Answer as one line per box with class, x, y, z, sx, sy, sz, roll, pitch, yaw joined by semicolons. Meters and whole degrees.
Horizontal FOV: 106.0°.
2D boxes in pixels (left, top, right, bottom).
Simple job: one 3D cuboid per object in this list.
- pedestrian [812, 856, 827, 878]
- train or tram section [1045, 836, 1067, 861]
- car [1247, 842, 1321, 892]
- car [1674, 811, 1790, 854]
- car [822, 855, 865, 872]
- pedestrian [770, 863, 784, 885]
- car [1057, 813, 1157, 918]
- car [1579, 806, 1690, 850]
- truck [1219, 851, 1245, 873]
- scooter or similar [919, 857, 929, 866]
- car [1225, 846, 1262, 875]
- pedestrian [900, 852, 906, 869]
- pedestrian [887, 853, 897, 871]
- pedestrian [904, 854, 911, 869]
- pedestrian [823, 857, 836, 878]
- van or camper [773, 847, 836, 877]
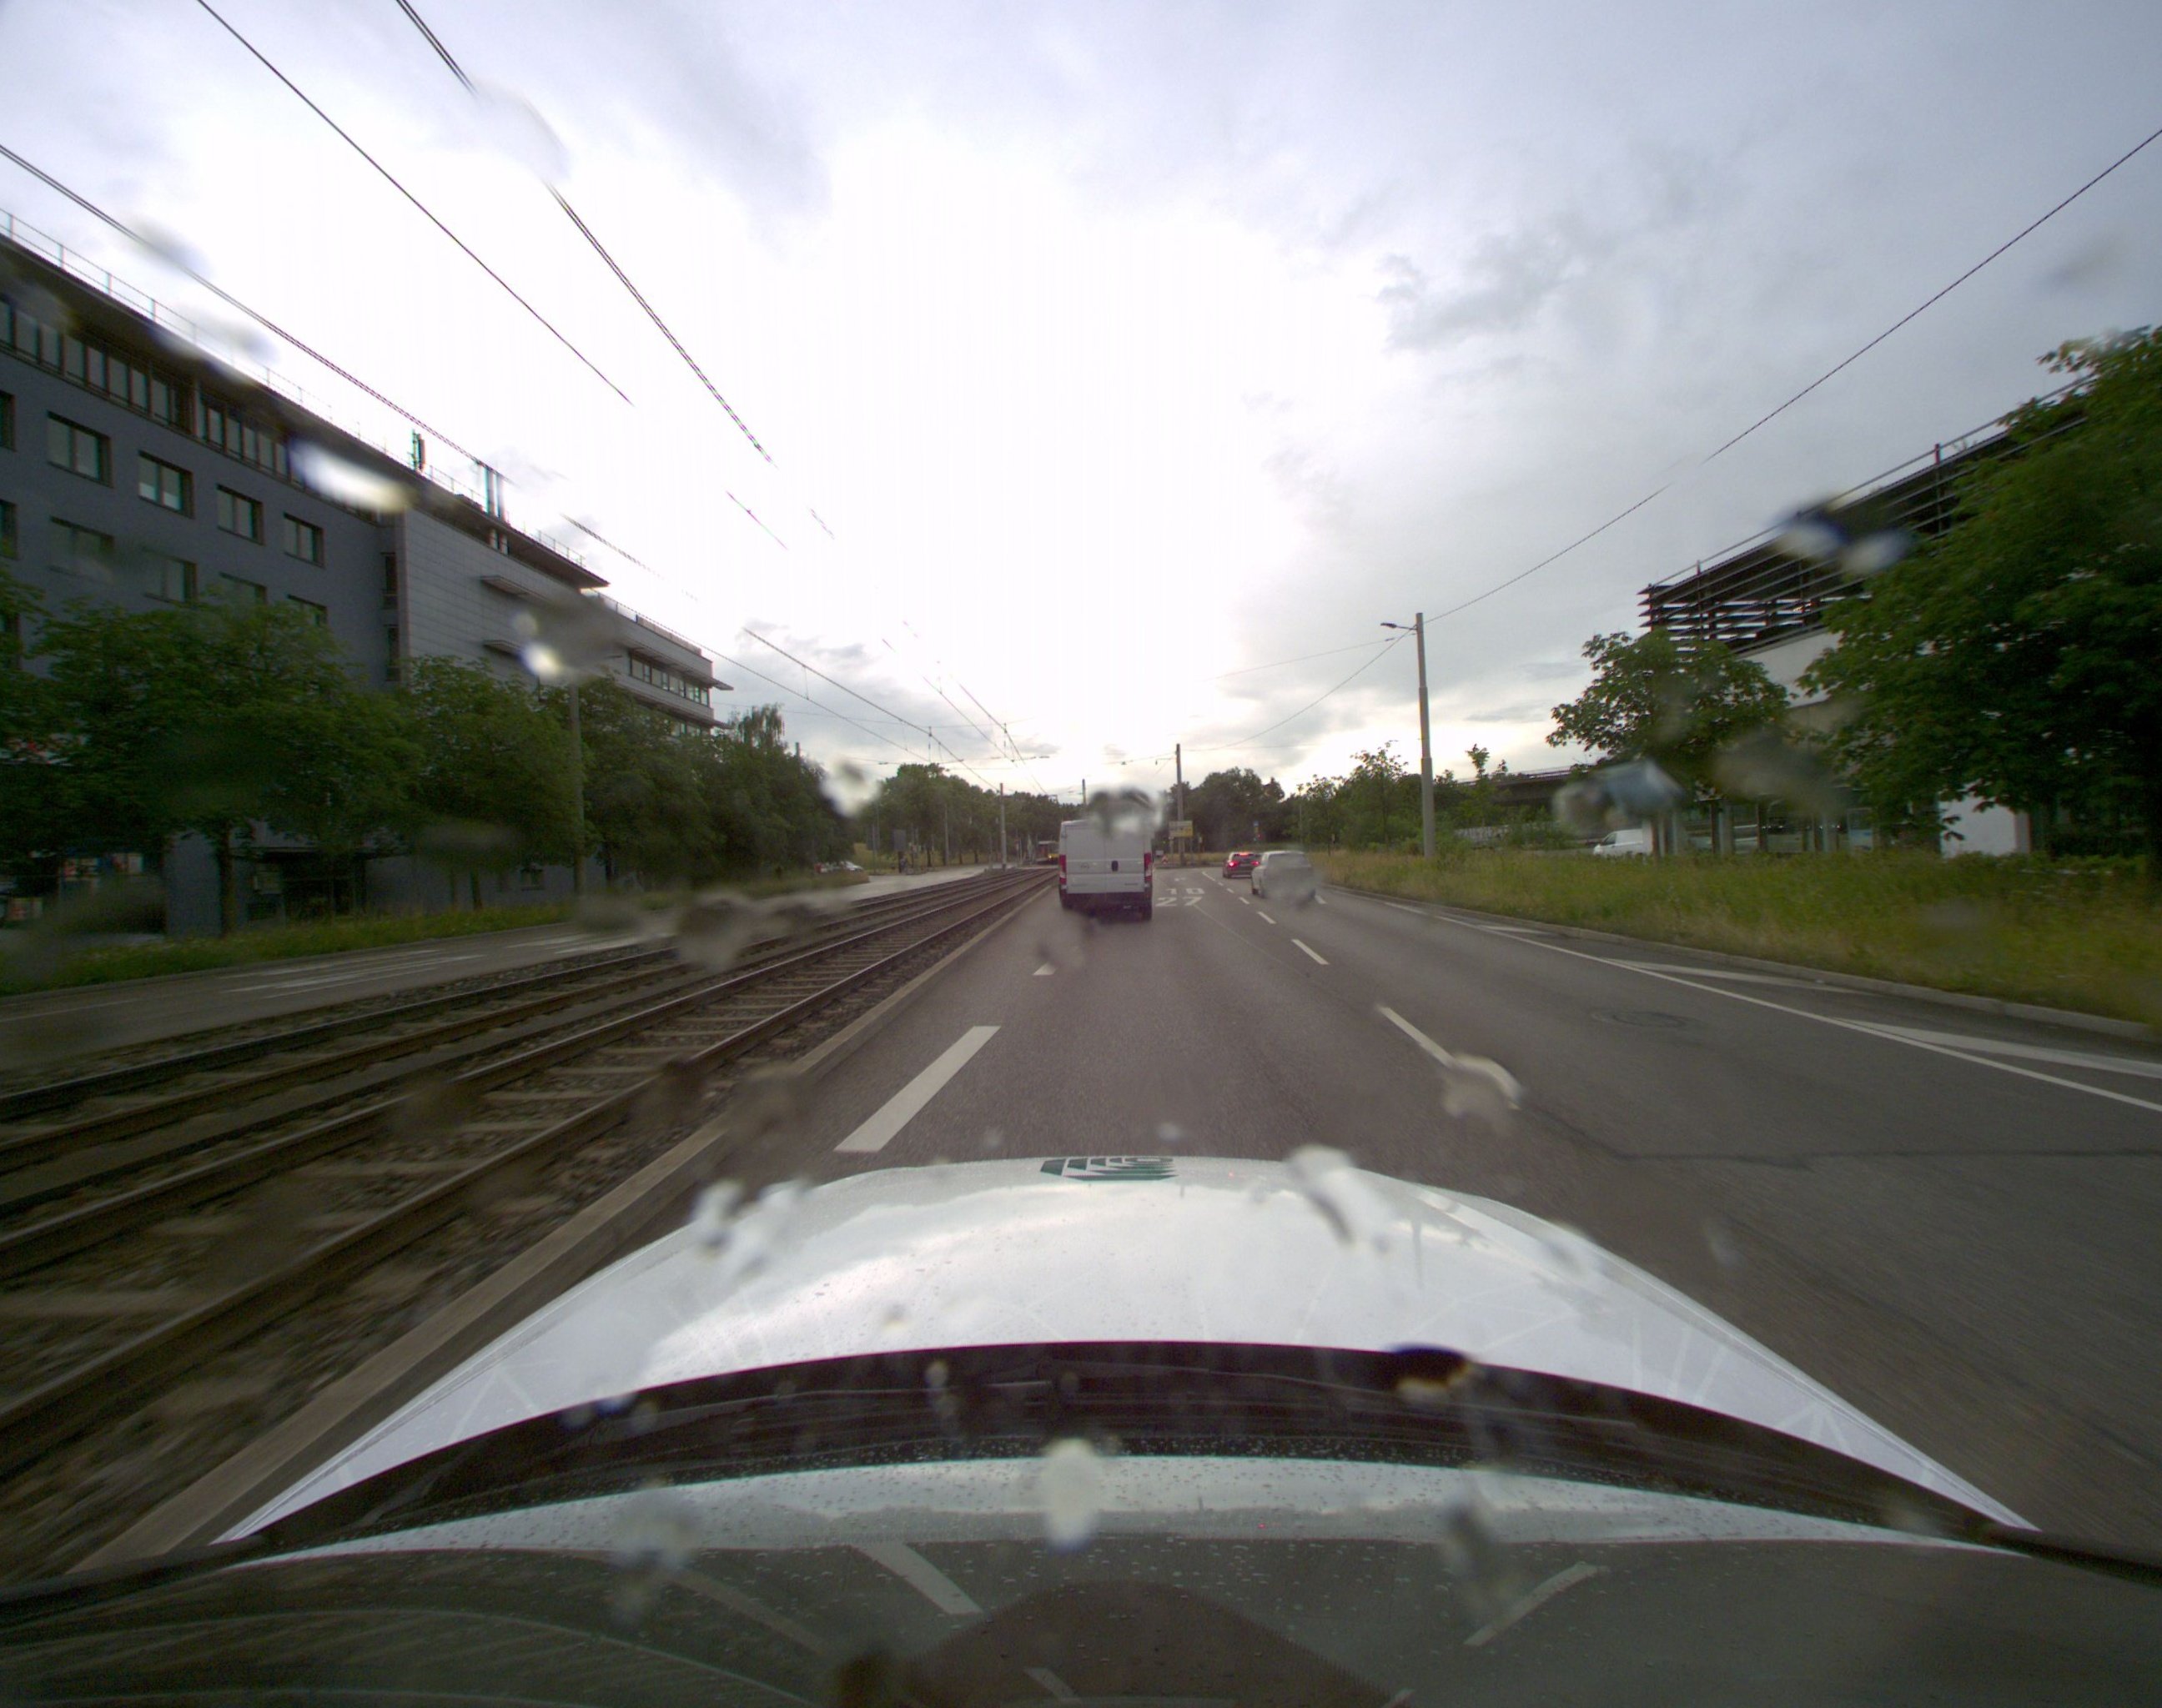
pedestrian;-24.209;1.223;75.449;0.880;2.013;0.949;-2;0;16
train or tram section;-3.926;-0.840;131.541;2.916;3.932;7.012;0;0;3
car;6.464;0.375;26.285;1.738;1.457;3.676;-1;1;5
car;32.292;-1.027;40.579;1.941;2.050;4.703;0;0;-2
car;-26.159;1.070;89.652;4.571;1.732;2.013;-1;1;35
pedestrian;-25.180;1.631;67.467;0.722;1.755;0.878;0;0;4
car;0.633;0.208;19.761;2.083;2.196;5.063;-1;1;2
car;27.710;-1.242;41.031;2.038;2.013;5.087;-2;0;-2
truck;14.069;0.718;75.720;1.979;1.790;4.431;-3;1;14
scooter or similar;-20.611;1.012;106.844;1.287;1.161;0.376;-3;1;-43
car;8.799;0.316;44.363;1.779;1.449;4.010;-1;0;9
pedestrian;-20.280;0.769;92.866;0.493;1.955;0.723;0;0;6
pedestrian;-21.848;0.904;94.086;0.885;2.013;0.865;-2;0;-3
pedestrian;-19.781;0.850;92.697;0.503;1.787;0.833;0;0;6
pedestrian;-23.351;1.225;75.726;0.628;1.867;0.958;-3;0;17
van or camper;-29.569;0.860;87.003;7.279;2.966;2.507;-2;1;36
